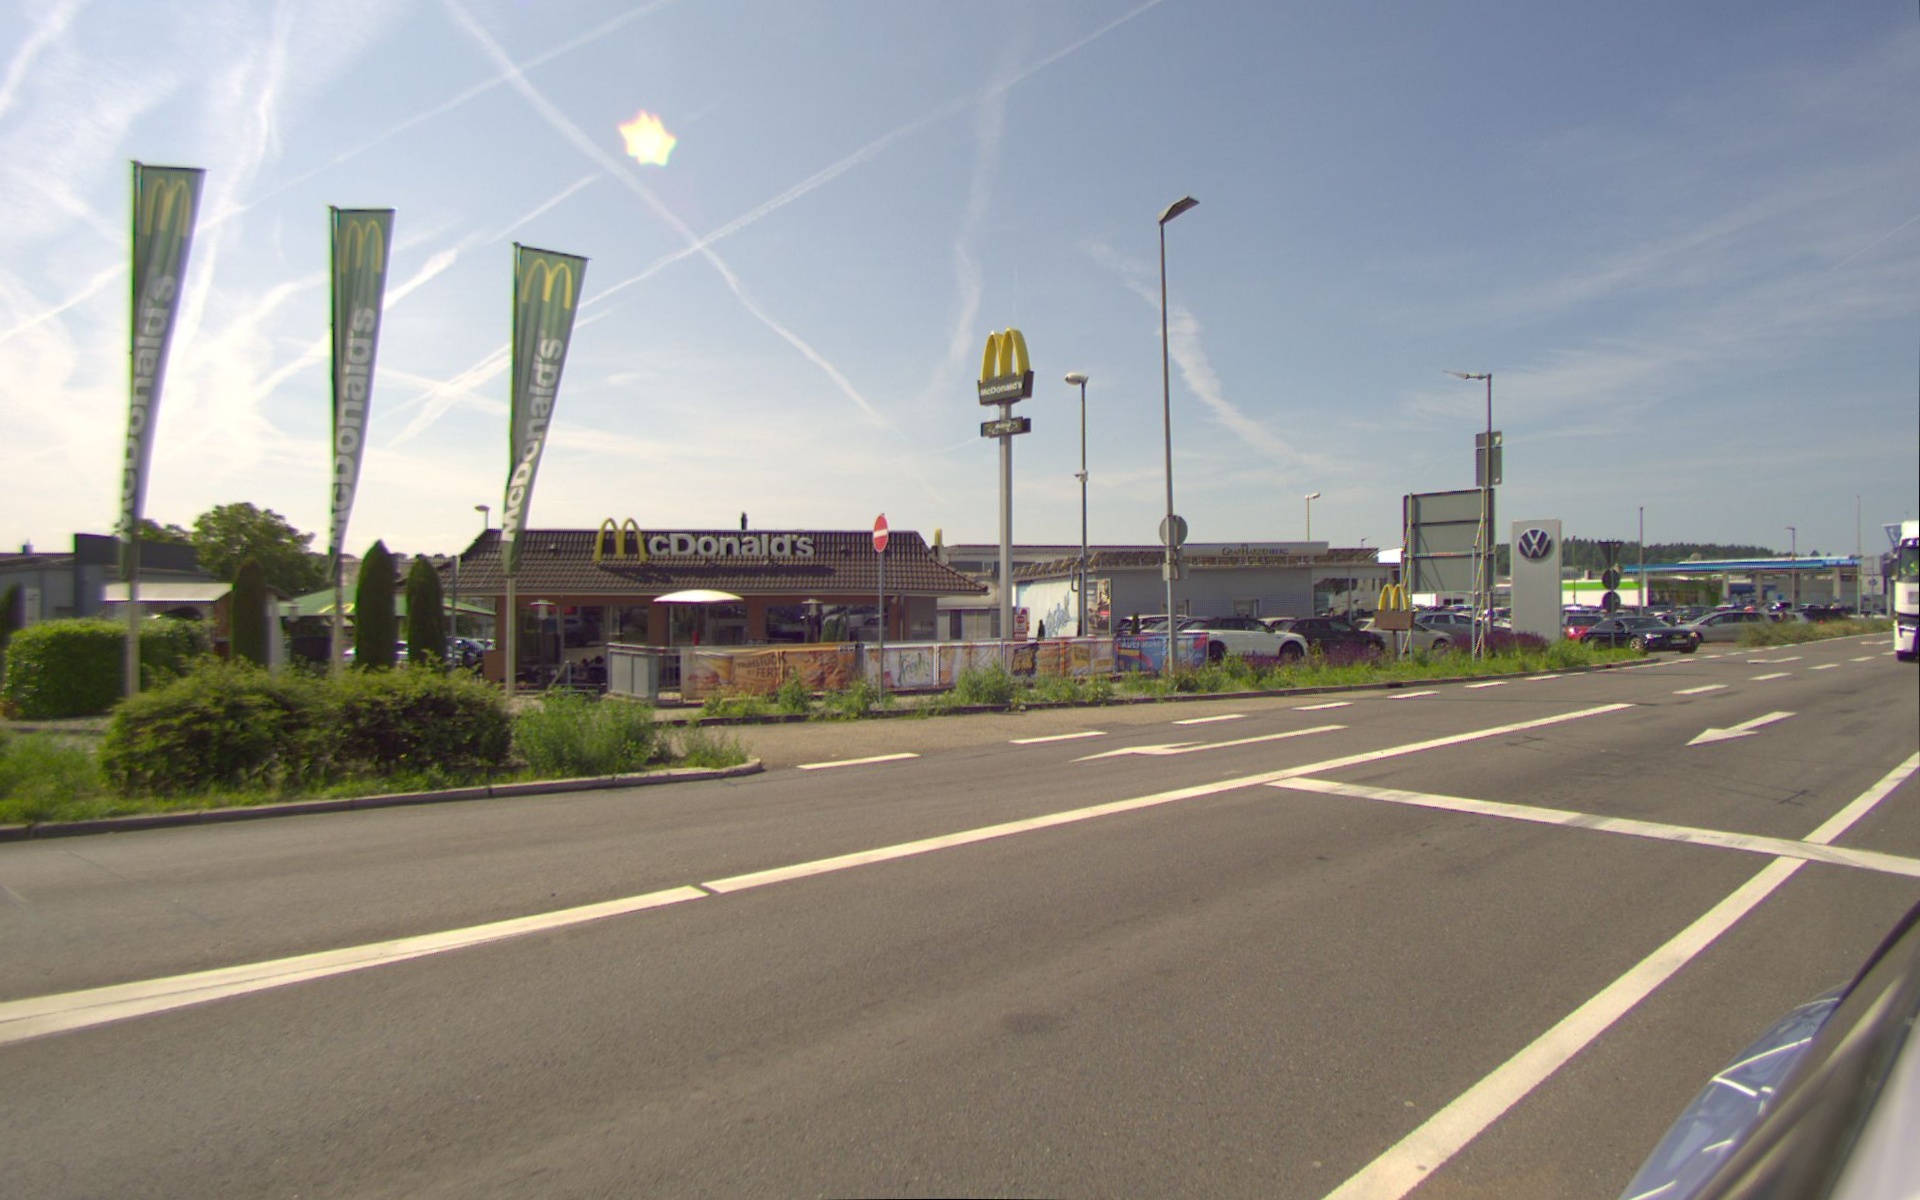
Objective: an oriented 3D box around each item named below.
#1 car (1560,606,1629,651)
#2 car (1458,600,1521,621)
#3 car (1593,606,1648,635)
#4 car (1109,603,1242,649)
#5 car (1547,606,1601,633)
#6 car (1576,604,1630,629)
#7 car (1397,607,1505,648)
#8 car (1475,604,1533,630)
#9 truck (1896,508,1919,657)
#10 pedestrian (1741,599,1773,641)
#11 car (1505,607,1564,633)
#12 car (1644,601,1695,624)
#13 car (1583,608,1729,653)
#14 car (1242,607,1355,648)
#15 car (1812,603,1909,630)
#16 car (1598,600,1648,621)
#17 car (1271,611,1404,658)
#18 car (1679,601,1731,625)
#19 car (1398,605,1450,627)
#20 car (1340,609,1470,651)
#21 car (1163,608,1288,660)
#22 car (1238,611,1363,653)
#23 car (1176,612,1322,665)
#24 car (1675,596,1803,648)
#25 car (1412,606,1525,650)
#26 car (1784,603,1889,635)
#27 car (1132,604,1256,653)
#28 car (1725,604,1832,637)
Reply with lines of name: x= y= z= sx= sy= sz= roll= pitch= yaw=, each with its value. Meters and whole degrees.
car: x=25.931 y=1.137 z=41.494 sx=1.756 sy=1.675 sz=4.044 roll=-2 pitch=0 yaw=24
car: x=42.091 y=0.867 z=80.484 sx=4.442 sy=1.603 sz=1.827 roll=0 pitch=0 yaw=-18
car: x=41.472 y=1.246 z=63.481 sx=4.632 sy=1.675 sz=1.904 roll=0 pitch=1 yaw=-44
car: x=8.394 y=1.019 z=39.682 sx=4.722 sy=1.692 sz=1.914 roll=1 pitch=0 yaw=-4
car: x=39.650 y=1.228 z=65.327 sx=4.463 sy=1.675 sz=1.965 roll=0 pitch=1 yaw=-44
car: x=44.123 y=1.101 z=69.418 sx=4.351 sy=1.675 sz=1.775 roll=0 pitch=0 yaw=-37
car: x=21.575 y=1.184 z=44.615 sx=3.940 sy=1.692 sz=1.913 roll=1 pitch=0 yaw=13
car: x=38.433 y=1.210 z=71.516 sx=4.451 sy=1.751 sz=1.823 roll=0 pitch=0 yaw=-35
truck: x=28.819 y=-0.463 z=28.562 sx=5.932 sy=4.037 sz=2.647 roll=0 pitch=0 yaw=-39
pedestrian: x=37.428 y=0.912 z=47.536 sx=0.975 sy=1.936 sz=0.740 roll=1 pitch=0 yaw=16
car: x=39.046 y=1.325 z=68.723 sx=4.452 sy=1.675 sz=1.776 roll=0 pitch=0 yaw=-36
car: x=54.119 y=0.923 z=77.187 sx=4.451 sy=1.675 sz=1.776 roll=0 pitch=0 yaw=-35
car: x=24.147 y=1.108 z=35.382 sx=1.931 sy=1.350 sz=4.808 roll=-4 pitch=-3 yaw=4
car: x=13.446 y=1.069 z=40.343 sx=3.881 sy=1.537 sz=1.778 roll=1 pitch=0 yaw=-4
car: x=60.423 y=1.083 z=67.984 sx=4.488 sy=1.675 sz=1.762 roll=1 pitch=0 yaw=24
car: x=55.575 y=0.865 z=84.845 sx=4.448 sy=1.675 sz=1.777 roll=0 pitch=0 yaw=-32
car: x=13.317 y=1.206 z=35.865 sx=4.008 sy=1.551 sz=1.778 roll=1 pitch=0 yaw=-4
car: x=55.194 y=0.957 z=74.939 sx=4.451 sy=1.675 sz=1.776 roll=0 pitch=0 yaw=-35
car: x=36.481 y=1.257 z=79.554 sx=4.452 sy=1.675 sz=1.776 roll=0 pitch=0 yaw=-36
car: x=16.959 y=1.124 z=38.689 sx=4.179 sy=1.510 sz=1.751 roll=1 pitch=0 yaw=-4
car: x=9.241 y=1.176 z=35.440 sx=3.832 sy=1.692 sz=1.778 roll=1 pitch=0 yaw=-4
car: x=12.790 y=1.194 z=38.148 sx=4.072 sy=1.468 sz=1.798 roll=1 pitch=0 yaw=-4
car: x=9.299 y=1.217 z=32.758 sx=4.149 sy=1.596 sz=1.862 roll=1 pitch=0 yaw=-4
car: x=35.854 y=0.979 z=46.721 sx=4.296 sy=2.241 sz=1.752 roll=1 pitch=0 yaw=21
car: x=21.175 y=1.122 z=42.287 sx=3.974 sy=1.692 sz=1.765 roll=1 pitch=0 yaw=20
car: x=48.097 y=1.020 z=55.596 sx=3.946 sy=1.675 sz=1.766 roll=1 pitch=0 yaw=18
car: x=8.623 y=1.043 z=37.447 sx=4.087 sy=1.692 sz=1.778 roll=1 pitch=0 yaw=-4
car: x=42.412 y=1.051 z=52.554 sx=3.953 sy=1.578 sz=1.700 roll=1 pitch=0 yaw=22
